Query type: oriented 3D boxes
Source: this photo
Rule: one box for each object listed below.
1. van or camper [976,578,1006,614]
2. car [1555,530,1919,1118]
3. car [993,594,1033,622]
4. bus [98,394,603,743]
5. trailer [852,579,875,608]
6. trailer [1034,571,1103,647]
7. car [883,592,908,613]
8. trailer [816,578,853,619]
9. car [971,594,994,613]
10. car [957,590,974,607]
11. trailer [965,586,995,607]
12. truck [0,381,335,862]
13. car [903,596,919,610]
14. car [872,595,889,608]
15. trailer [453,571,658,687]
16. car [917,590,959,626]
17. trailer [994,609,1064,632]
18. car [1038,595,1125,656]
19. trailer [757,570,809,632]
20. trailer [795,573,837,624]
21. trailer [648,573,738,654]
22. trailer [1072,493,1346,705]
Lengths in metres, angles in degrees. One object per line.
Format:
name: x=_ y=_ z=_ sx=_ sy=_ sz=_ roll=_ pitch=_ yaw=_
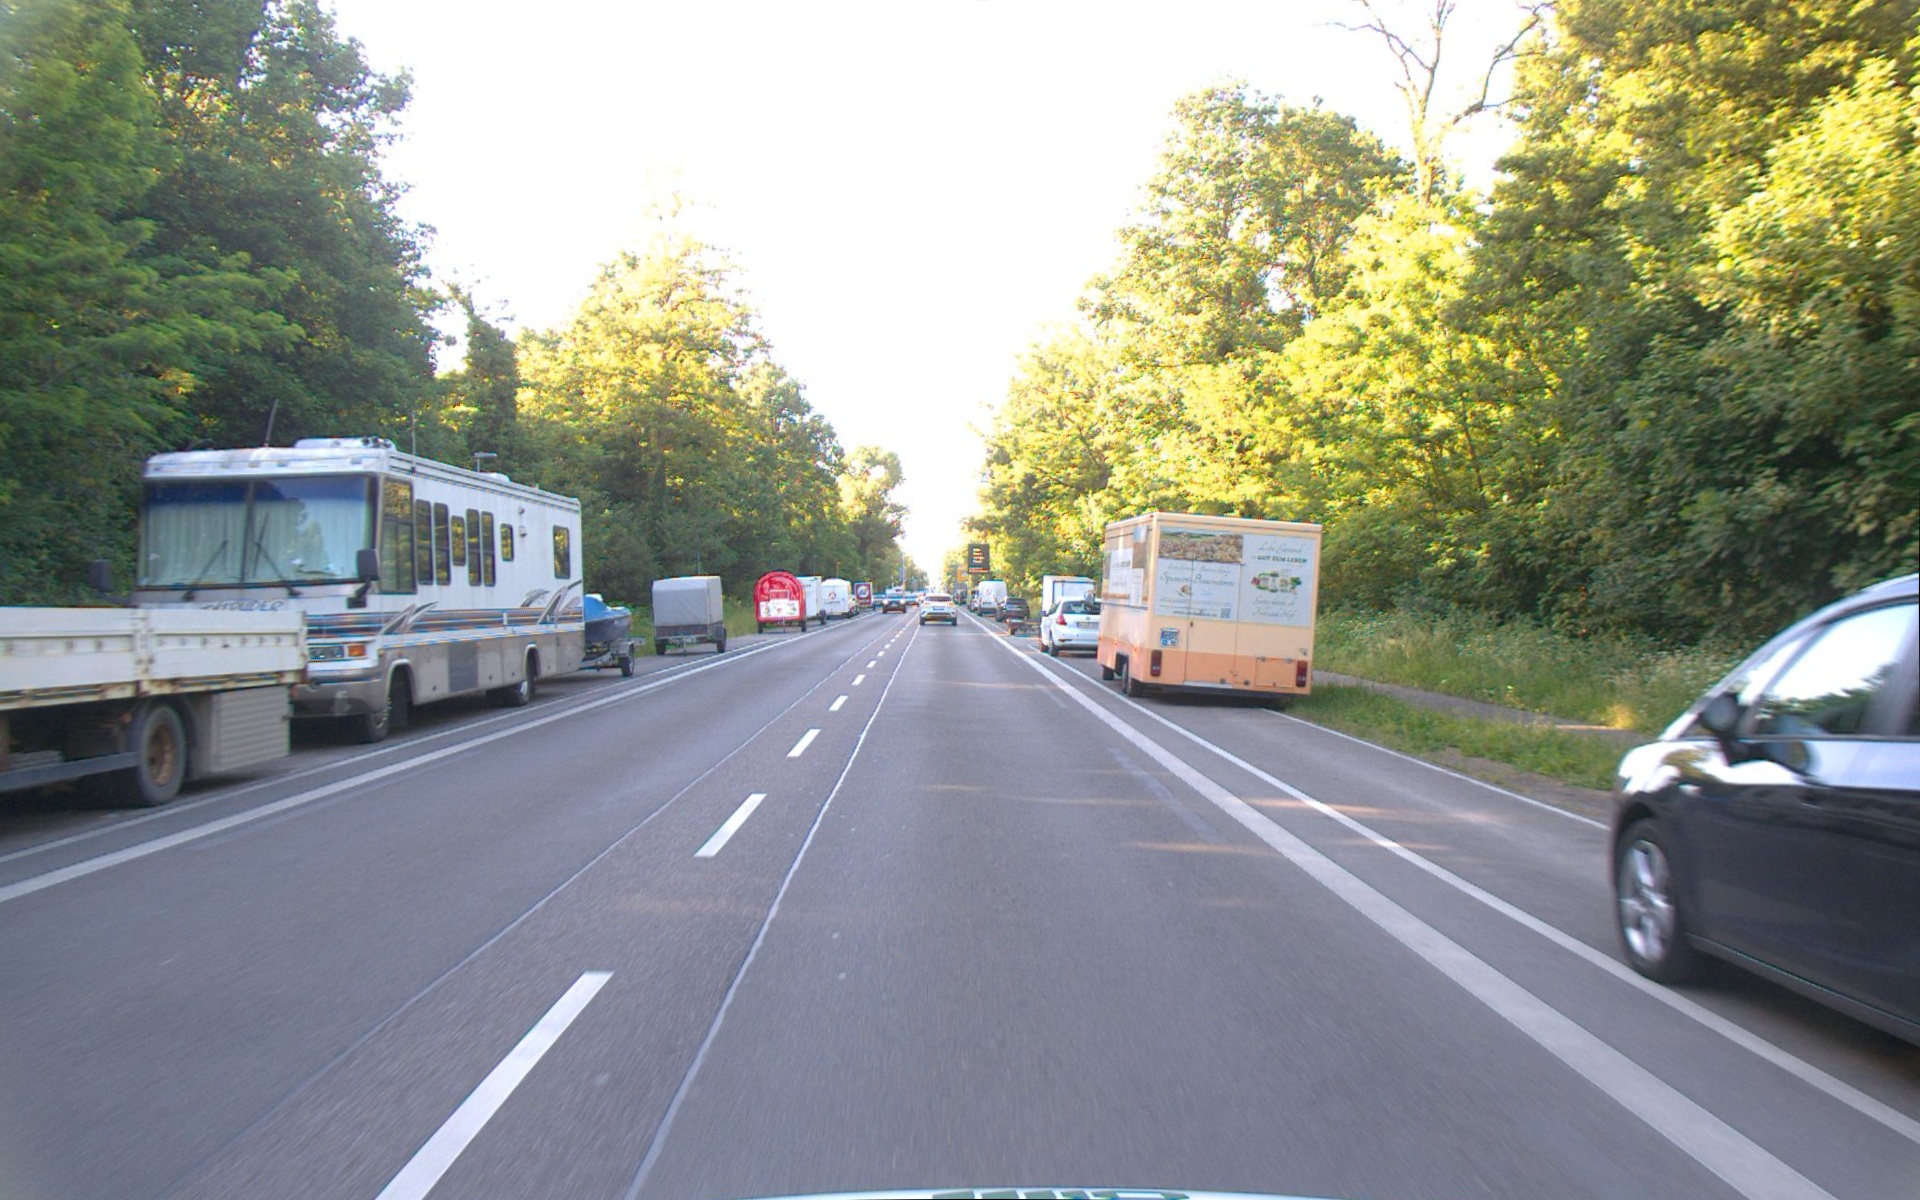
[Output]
van or camper: x=2.179 y=-0.306 z=117.933 sx=2.082 sy=2.526 sz=6.304 roll=0 pitch=0 yaw=0
car: x=3.694 y=0.672 z=5.415 sx=1.763 sy=1.720 sz=4.601 roll=1 pitch=0 yaw=-1
car: x=2.977 y=0.423 z=94.369 sx=1.798 sy=1.445 sz=4.594 roll=3 pitch=0 yaw=-4
bus: x=-7.377 y=-0.293 z=22.358 sx=2.770 sy=3.491 sz=11.198 roll=1 pitch=0 yaw=-1
trailer: x=-9.073 y=-0.623 z=155.193 sx=1.953 sy=2.667 sz=4.085 roll=0 pitch=0 yaw=-1
trailer: x=3.183 y=0.252 z=49.245 sx=1.719 sy=2.199 sz=3.538 roll=0 pitch=0 yaw=-2
car: x=-5.036 y=0.213 z=128.842 sx=1.781 sy=1.614 sz=4.458 roll=-1 pitch=0 yaw=-1
trailer: x=-8.070 y=-0.121 z=106.680 sx=2.300 sy=2.573 sz=4.341 roll=-1 pitch=0 yaw=-4
car: x=1.896 y=0.242 z=138.879 sx=1.700 sy=1.514 sz=4.399 roll=2 pitch=0 yaw=-2
car: x=0.686 y=-0.176 z=216.045 sx=2.070 sy=2.049 sz=5.039 roll=2 pitch=0 yaw=0
trailer: x=2.008 y=-0.336 z=166.447 sx=1.921 sy=2.058 sz=3.845 roll=0 pitch=0 yaw=19
truck: x=-6.965 y=0.112 z=11.099 sx=2.432 sy=2.873 sz=8.423 roll=1 pitch=0 yaw=-1
car: x=-5.526 y=0.374 z=186.547 sx=1.782 sy=1.559 sz=4.529 roll=-1 pitch=0 yaw=-1
car: x=-9.263 y=0.169 z=194.062 sx=1.817 sy=1.490 sz=4.783 roll=0 pitch=0 yaw=-1
trailer: x=-7.423 y=0.475 z=31.124 sx=2.379 sy=1.948 sz=6.263 roll=1 pitch=0 yaw=-1
car: x=-1.077 y=0.365 z=79.954 sx=1.953 sy=1.668 sz=3.999 roll=0 pitch=0 yaw=-1
trailer: x=2.597 y=0.774 z=63.449 sx=2.383 sy=0.812 sz=5.658 roll=1 pitch=0 yaw=-1
car: x=3.123 y=0.618 z=43.326 sx=1.849 sy=1.493 sz=4.568 roll=1 pitch=0 yaw=-1
trailer: x=-7.432 y=0.025 z=69.678 sx=2.025 sy=2.524 sz=3.558 roll=-1 pitch=0 yaw=-4
trailer: x=-7.307 y=-0.065 z=84.026 sx=2.025 sy=2.524 sz=3.558 roll=-1 pitch=0 yaw=-4
trailer: x=-7.278 y=0.349 z=45.371 sx=1.815 sy=2.049 sz=3.561 roll=-3 pitch=0 yaw=0
trailer: x=3.903 y=0.004 z=28.603 sx=2.862 sy=2.891 sz=9.879 roll=3 pitch=0 yaw=-2
